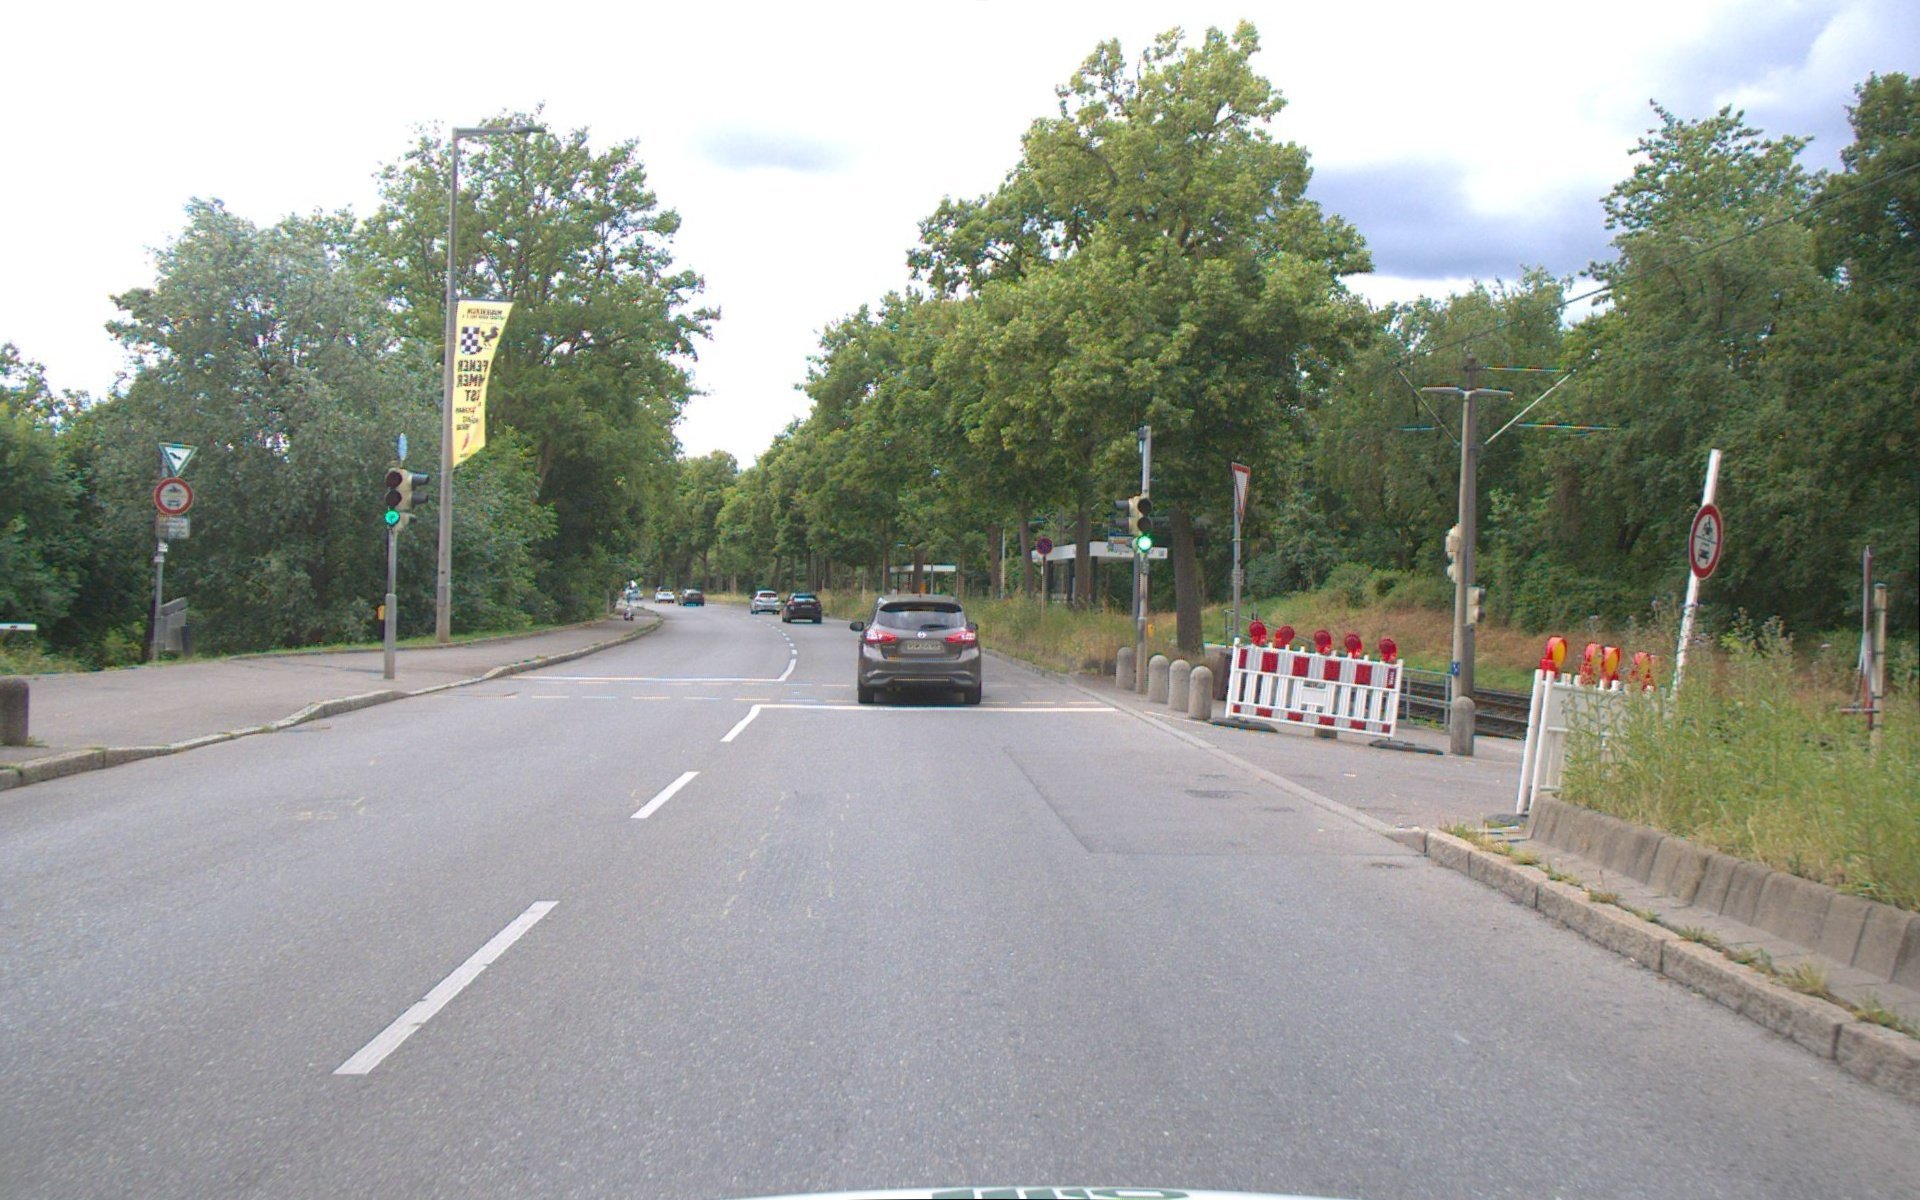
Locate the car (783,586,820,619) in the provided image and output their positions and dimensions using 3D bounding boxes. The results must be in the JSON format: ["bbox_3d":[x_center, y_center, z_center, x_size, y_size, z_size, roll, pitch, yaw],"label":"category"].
[{"bbox_3d":[-7.863,0.113,82.192,1.741,1.497,3.996,3,0,-5],"label":"car"}]

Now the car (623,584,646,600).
[{"bbox_3d":[-35.559,-0.864,180.696,1.750,1.497,3.976,3,0,-20],"label":"car"}]

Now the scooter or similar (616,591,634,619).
[{"bbox_3d":[-14.909,0.230,73.589,0.360,1.204,1.285,2,0,-29],"label":"scooter or similar"}]

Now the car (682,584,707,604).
[{"bbox_3d":[-23.317,-0.525,145.057,1.746,1.497,3.986,5,0,-14],"label":"car"}]

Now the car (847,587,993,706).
[{"bbox_3d":[-0.674,0.619,24.440,1.781,1.534,3.995,1,1,-7],"label":"car"}]

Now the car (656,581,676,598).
[{"bbox_3d":[-28.631,-1.034,161.011,1.745,1.497,3.989,2,1,-12],"label":"car"}]

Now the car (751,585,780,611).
[{"bbox_3d":[-12.622,-0.127,107.164,1.742,1.497,3.994,3,0,-7],"label":"car"}]
